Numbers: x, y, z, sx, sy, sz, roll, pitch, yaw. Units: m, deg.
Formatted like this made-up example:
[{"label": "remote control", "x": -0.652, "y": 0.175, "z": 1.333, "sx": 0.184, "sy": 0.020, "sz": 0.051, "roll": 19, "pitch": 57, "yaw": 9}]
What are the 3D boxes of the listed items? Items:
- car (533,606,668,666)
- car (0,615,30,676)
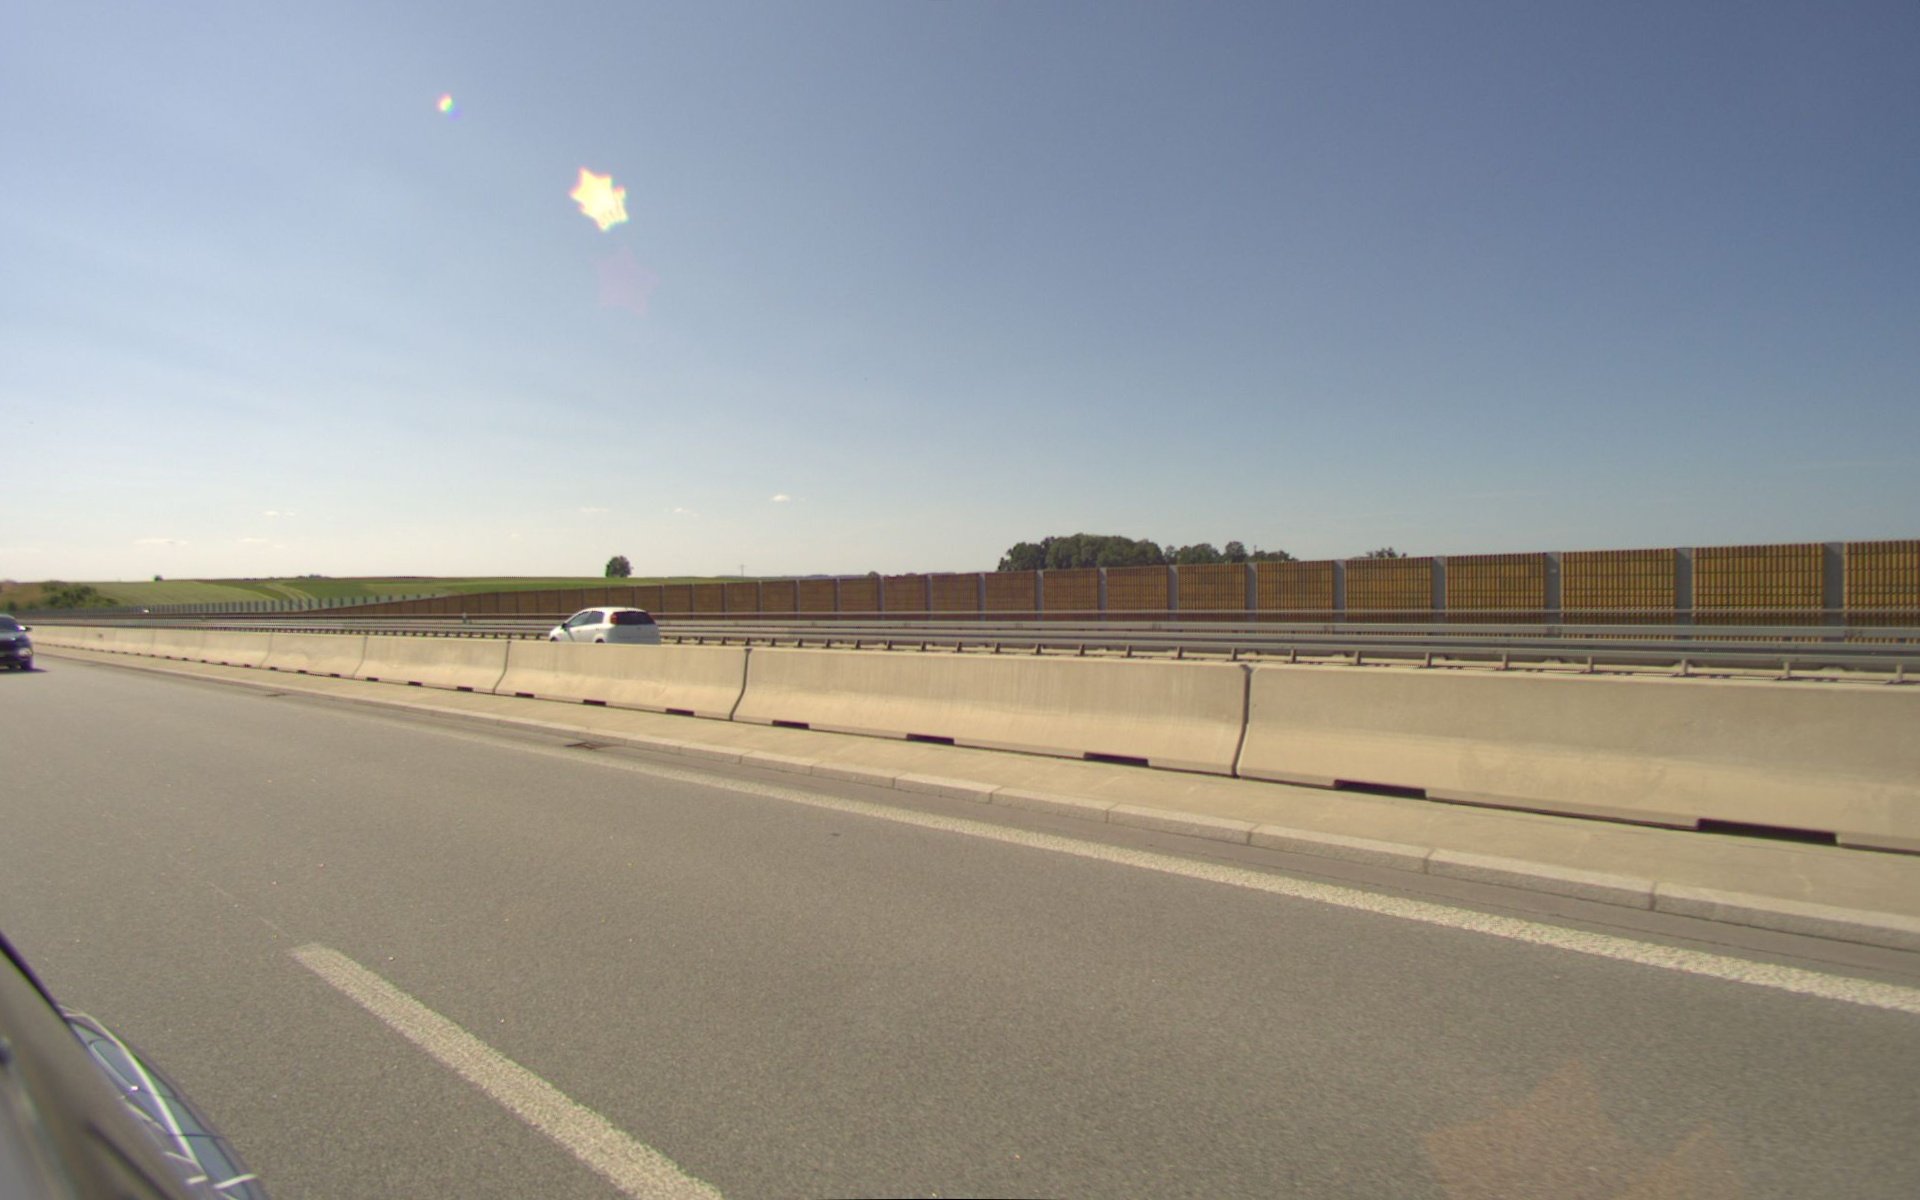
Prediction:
[{"label": "car", "x": -10.009, "y": 0.946, "z": 27.994, "sx": 4.330, "sy": 1.520, "sz": 1.630, "roll": -1, "pitch": 0, "yaw": 42}, {"label": "car", "x": -26.899, "y": 1.222, "z": 27.619, "sx": 4.986, "sy": 1.581, "sz": 1.753, "roll": -1, "pitch": 0, "yaw": 42}]
